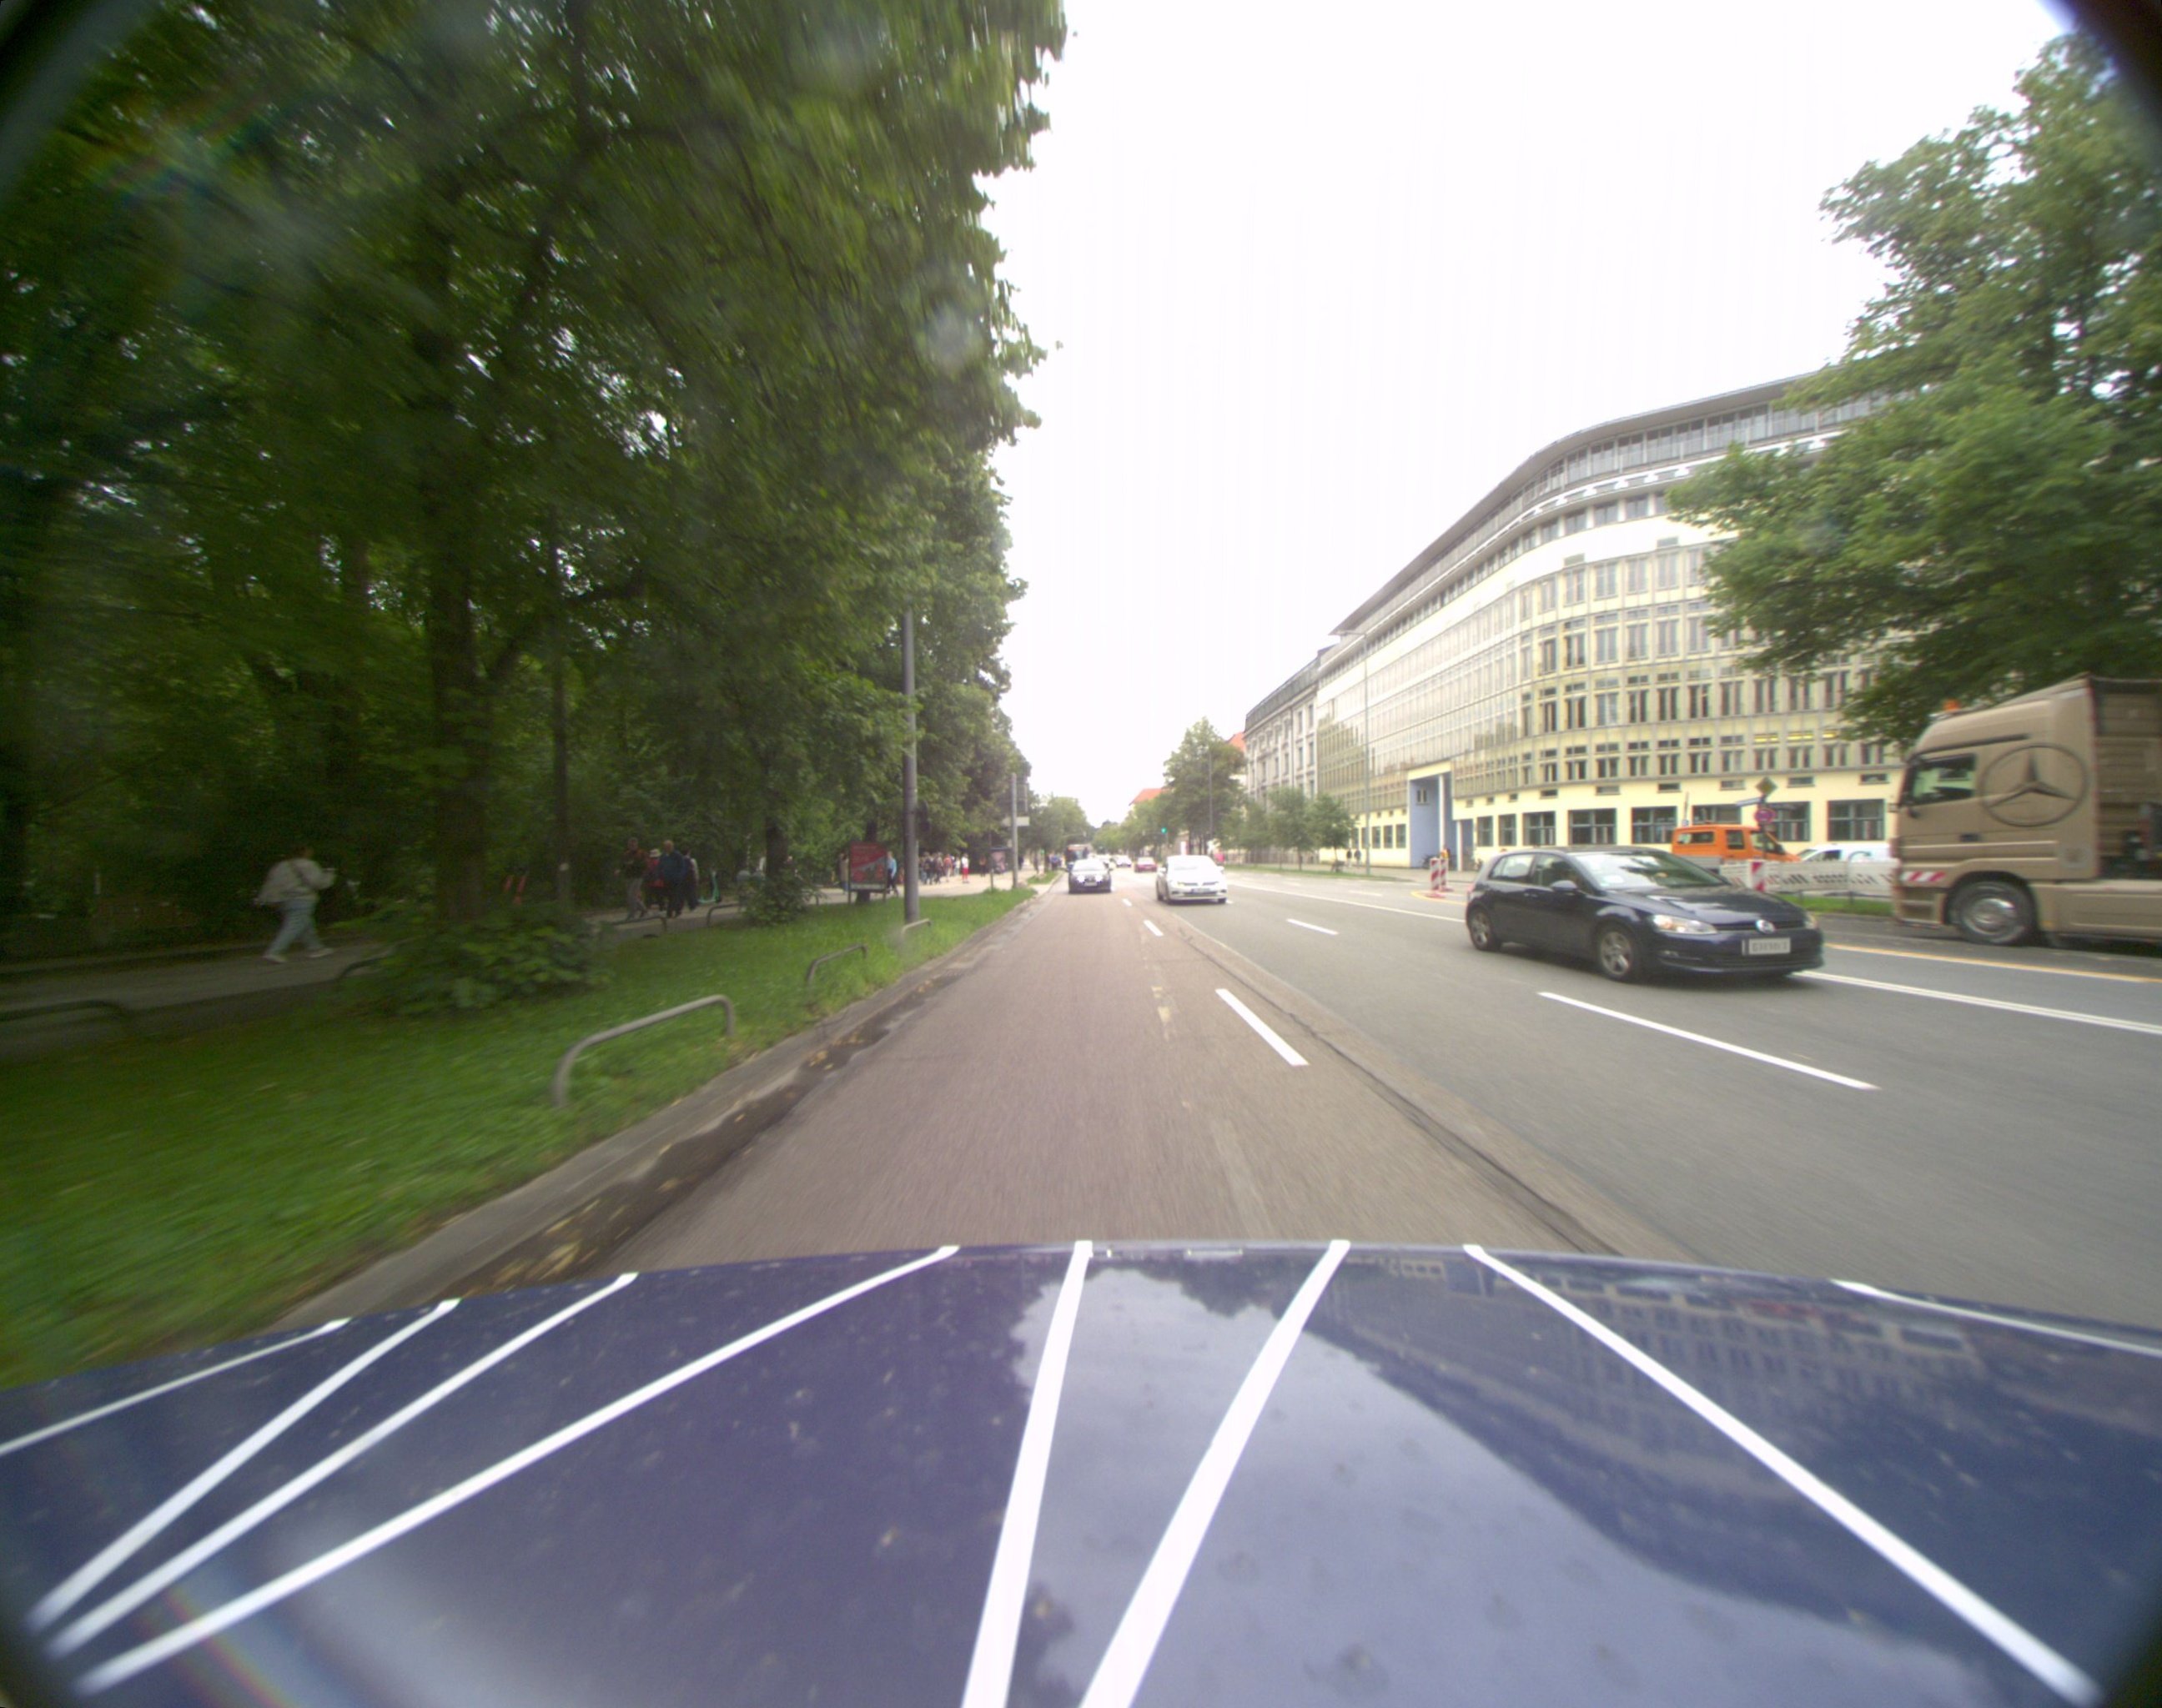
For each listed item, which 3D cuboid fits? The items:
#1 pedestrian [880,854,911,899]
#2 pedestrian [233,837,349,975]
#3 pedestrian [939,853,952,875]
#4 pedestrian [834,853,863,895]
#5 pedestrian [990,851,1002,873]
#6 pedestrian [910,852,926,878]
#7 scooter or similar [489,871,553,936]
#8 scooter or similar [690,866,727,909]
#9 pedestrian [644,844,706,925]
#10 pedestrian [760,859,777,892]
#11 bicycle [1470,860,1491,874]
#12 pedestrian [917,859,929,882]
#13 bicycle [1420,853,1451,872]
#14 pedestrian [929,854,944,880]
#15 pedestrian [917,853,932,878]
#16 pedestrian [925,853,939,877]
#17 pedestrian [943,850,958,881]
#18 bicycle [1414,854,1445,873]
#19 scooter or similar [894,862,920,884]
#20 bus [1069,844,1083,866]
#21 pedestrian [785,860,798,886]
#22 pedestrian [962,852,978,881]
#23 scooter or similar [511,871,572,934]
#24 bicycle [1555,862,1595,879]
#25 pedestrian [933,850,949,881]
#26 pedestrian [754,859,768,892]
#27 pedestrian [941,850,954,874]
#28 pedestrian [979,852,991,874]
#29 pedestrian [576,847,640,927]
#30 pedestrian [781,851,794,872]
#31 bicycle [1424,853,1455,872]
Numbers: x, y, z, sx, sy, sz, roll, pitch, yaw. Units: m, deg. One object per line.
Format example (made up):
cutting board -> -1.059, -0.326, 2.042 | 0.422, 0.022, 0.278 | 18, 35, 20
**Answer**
pedestrian -> -7.036, 0.849, 28.914 | 0.755, 1.634, 0.850 | -2, 1, 15
pedestrian -> -10.557, 0.672, 10.183 | 0.632, 1.763, 0.782 | -2, 1, 4
pedestrian -> -10.467, 0.776, 58.683 | 0.814, 1.681, 0.674 | -2, 1, 2
pedestrian -> -9.284, 0.776, 30.339 | 0.755, 1.634, 0.691 | -2, 1, 15
pedestrian -> -6.474, 0.630, 58.216 | 0.728, 1.681, 0.648 | -2, 1, 5
pedestrian -> -10.833, 0.725, 50.638 | 0.814, 1.681, 0.729 | -2, 1, 2
scooter or similar -> -10.990, 0.952, 14.919 | 0.305, 1.217, 0.928 | -1, 1, 39
scooter or similar -> -10.773, 0.953, 22.023 | 0.419, 1.192, 1.219 | -2, 0, 0
pedestrian -> -8.998, 0.660, 16.857 | 0.755, 1.727, 0.850 | -2, 1, 15
pedestrian -> -17.035, 1.166, 41.446 | 0.520, 1.753, 0.569 | -2, 1, 31
bicycle -> 25.310, 0.799, 48.188 | 0.478, 0.872, 1.737 | -1, 0, 3
pedestrian -> -9.212, 0.975, 44.400 | 0.459, 1.319, 0.648 | -2, 1, 5
bicycle -> 26.321, 0.654, 56.427 | 2.014, 1.311, 0.574 | -2, 1, -6
pedestrian -> -10.739, 0.951, 56.455 | 0.814, 1.905, 0.729 | -2, 1, 2
pedestrian -> -10.774, 0.764, 52.414 | 0.814, 1.681, 0.729 | -1, 1, 2
pedestrian -> -10.643, 0.771, 54.172 | 0.814, 1.681, 0.729 | 0, 1, 2
pedestrian -> -8.238, 0.732, 47.808 | 0.610, 1.903, 0.694 | -2, 1, 16
bicycle -> 26.222, 0.693, 57.192 | 2.014, 1.311, 0.638 | -2, 1, -6
scooter or similar -> -10.023, 1.109, 43.702 | 1.563, 1.249, 0.349 | -2, 1, 31
bus -> -0.595, 0.124, 93.321 | 1.638, 2.570, 6.701 | -1, 0, 0
pedestrian -> -16.659, 1.071, 43.764 | 0.407, 1.465, 0.519 | -2, 1, 22
pedestrian -> -6.541, 0.728, 44.900 | 0.728, 1.681, 0.648 | -2, 1, 5
scooter or similar -> -10.981, 0.961, 15.475 | 0.305, 1.217, 0.928 | -1, 1, 39
bicycle -> 26.438, 0.870, 40.664 | 1.732, 0.872, 0.587 | -1, 0, 41
pedestrian -> -8.688, 0.716, 47.217 | 0.610, 1.862, 0.694 | -2, 1, 16
pedestrian -> -17.689, 1.192, 42.008 | 0.526, 1.753, 0.437 | -2, 1, 22
pedestrian -> -10.436, 0.646, 59.408 | 0.814, 1.841, 0.729 | -2, 1, 2
pedestrian -> -7.348, 0.670, 58.136 | 0.728, 1.681, 0.648 | -2, 1, 5
pedestrian -> -10.558, 0.726, 16.989 | 0.755, 1.727, 0.850 | -2, 1, 15
pedestrian -> -17.027, 0.407, 44.147 | 0.407, 1.191, 0.519 | -2, 1, 22
bicycle -> 26.353, 0.608, 55.796 | 2.014, 1.311, 0.574 | -2, 1, -6
